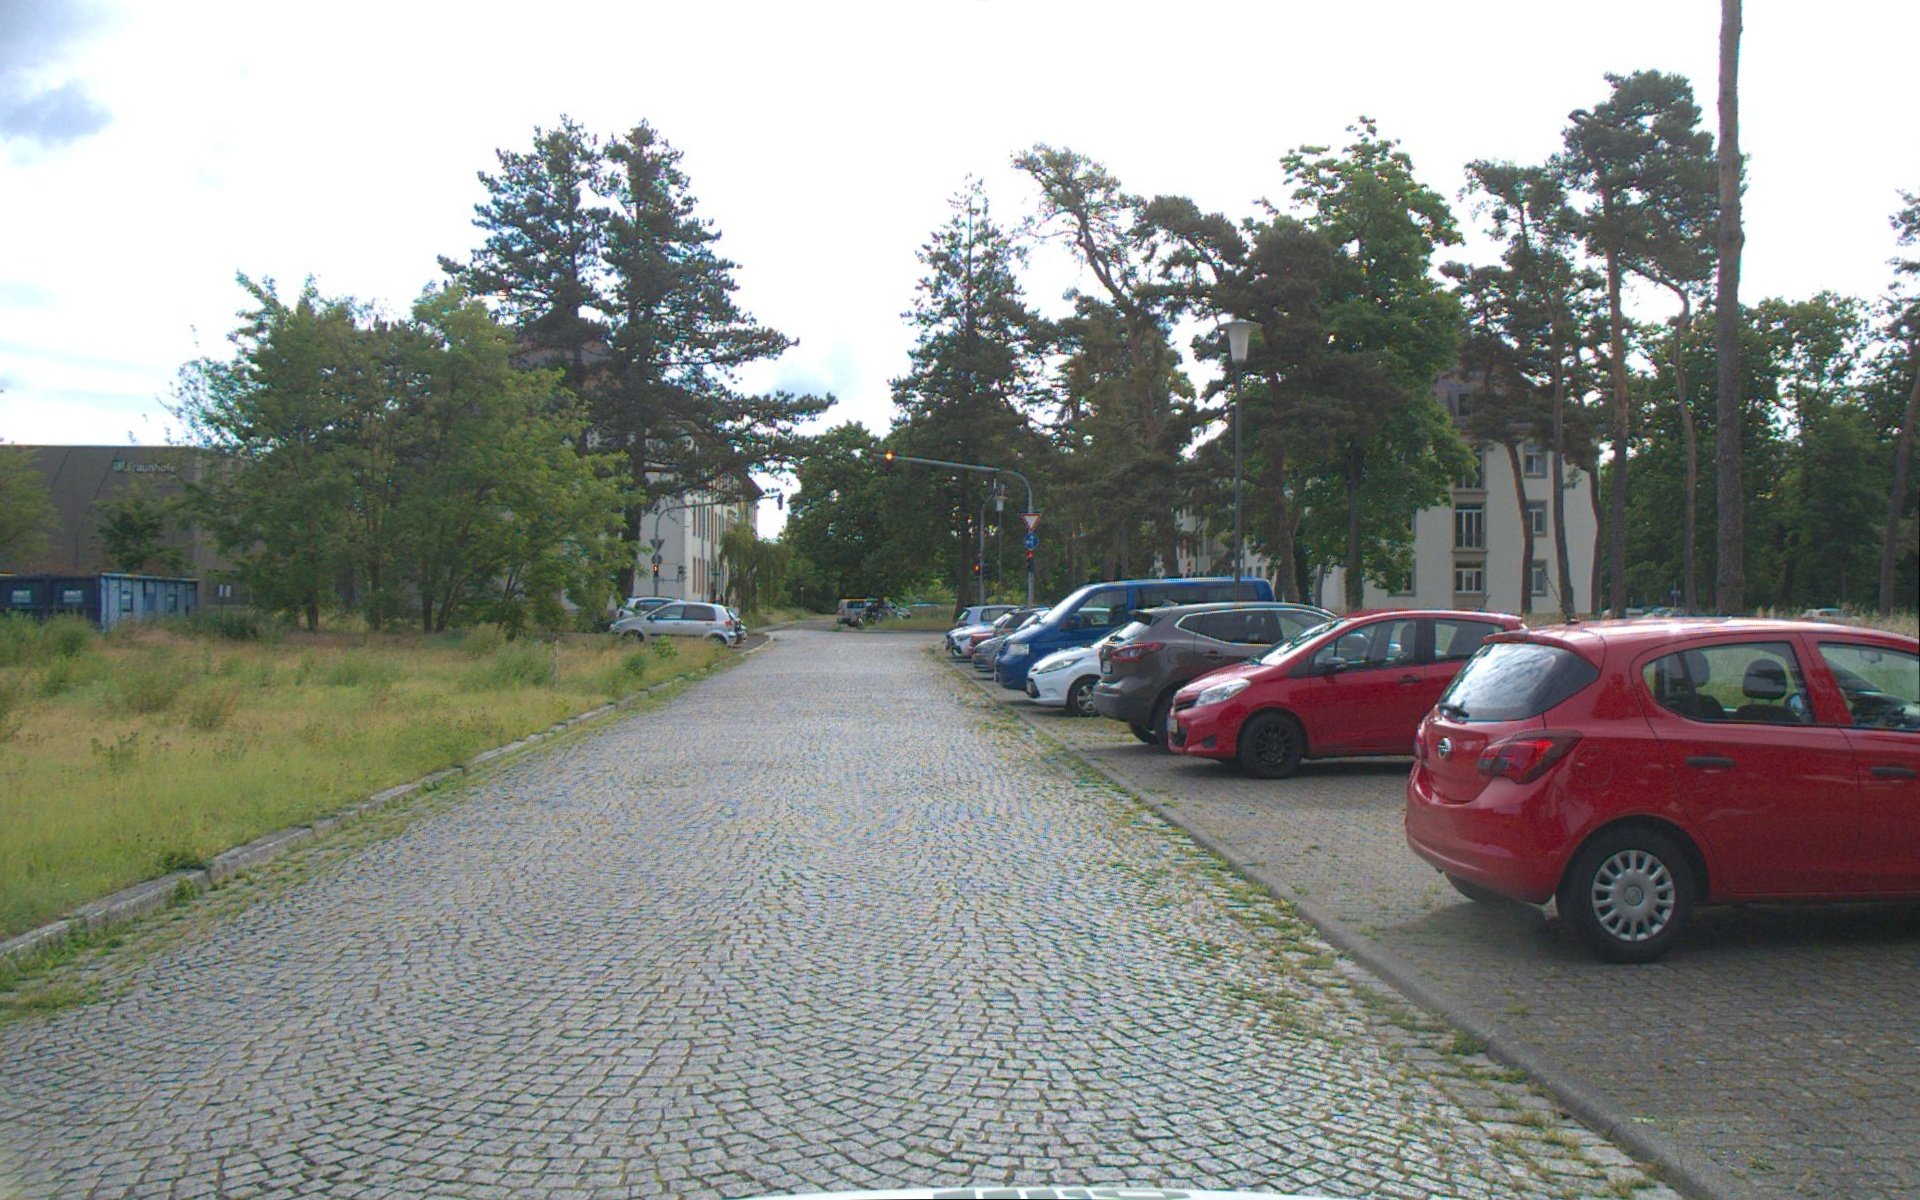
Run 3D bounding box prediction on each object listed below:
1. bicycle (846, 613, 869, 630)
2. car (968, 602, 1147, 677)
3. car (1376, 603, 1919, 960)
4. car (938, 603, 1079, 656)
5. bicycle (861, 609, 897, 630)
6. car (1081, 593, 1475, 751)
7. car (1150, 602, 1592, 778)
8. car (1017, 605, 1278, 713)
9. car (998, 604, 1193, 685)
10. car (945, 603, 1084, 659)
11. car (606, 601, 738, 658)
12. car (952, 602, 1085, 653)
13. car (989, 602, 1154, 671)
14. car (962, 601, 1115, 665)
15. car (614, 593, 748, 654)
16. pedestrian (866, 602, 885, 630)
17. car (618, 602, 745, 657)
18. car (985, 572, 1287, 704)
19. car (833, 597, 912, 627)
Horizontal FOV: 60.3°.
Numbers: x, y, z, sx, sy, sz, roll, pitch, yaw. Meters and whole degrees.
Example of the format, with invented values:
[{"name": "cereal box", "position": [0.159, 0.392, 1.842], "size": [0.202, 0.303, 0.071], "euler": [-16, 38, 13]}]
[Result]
[{"name": "bicycle", "position": [-5.914, 1.253, 95.503], "size": [0.614, 0.961, 1.645], "euler": [1, -1, -31]}, {"name": "car", "position": [2.057, 0.831, 35.357], "size": [3.601, 1.475, 1.522], "euler": [-1, -1, -6]}, {"name": "car", "position": [4.190, 0.781, 8.192], "size": [3.751, 1.486, 1.778], "euler": [-1, 0, -5]}, {"name": "car", "position": [1.389, 0.852, 48.420], "size": [3.893, 1.446, 1.617], "euler": [-1, -1, -8]}, {"name": "bicycle", "position": [-4.890, 1.190, 99.649], "size": [2.097, 1.236, 0.621], "euler": [1, -1, -8]}, {"name": "car", "position": [3.458, 0.760, 18.399], "size": [3.951, 1.580, 1.749], "euler": [-1, -1, -6]}, {"name": "car", "position": [3.820, 0.811, 15.769], "size": [3.717, 1.486, 1.750], "euler": [-1, -1, -4]}, {"name": "car", "position": [2.763, 0.851, 24.738], "size": [3.601, 1.475, 1.612], "euler": [-1, -1, -6]}, {"name": "car", "position": [2.645, 0.855, 32.614], "size": [3.601, 1.475, 1.522], "euler": [-1, -1, -6]}, {"name": "car", "position": [1.483, 0.836, 45.566], "size": [3.603, 1.446, 1.521], "euler": [-1, -1, -8]}, {"name": "car", "position": [-8.554, 0.867, 49.323], "size": [3.749, 1.600, 1.562], "euler": [-1, -1, -7]}, {"name": "car", "position": [1.782, 0.845, 51.101], "size": [3.893, 1.446, 1.617], "euler": [-1, -1, -8]}, {"name": "car", "position": [2.555, 0.828, 38.385], "size": [3.601, 1.475, 1.522], "euler": [-1, -1, -6]}, {"name": "car", "position": [1.917, 0.815, 41.052], "size": [3.601, 1.475, 1.522], "euler": [-1, -1, -6]}, {"name": "car", "position": [-9.193, 0.762, 54.694], "size": [4.178, 1.873, 1.742], "euler": [-1, -1, -4]}, {"name": "pedestrian", "position": [-5.106, 0.980, 99.980], "size": [1.014, 1.642, 0.756], "euler": [1, -1, -8]}, {"name": "car", "position": [-8.664, 0.915, 51.736], "size": [3.746, 1.600, 1.563], "euler": [-1, -1, -4]}, {"name": "car", "position": [2.840, 0.604, 27.343], "size": [4.662, 1.989, 1.929], "euler": [-1, -1, -6]}, {"name": "car", "position": [-6.233, 0.836, 117.499], "size": [5.351, 2.049, 2.261], "euler": [1, 0, -13]}]
